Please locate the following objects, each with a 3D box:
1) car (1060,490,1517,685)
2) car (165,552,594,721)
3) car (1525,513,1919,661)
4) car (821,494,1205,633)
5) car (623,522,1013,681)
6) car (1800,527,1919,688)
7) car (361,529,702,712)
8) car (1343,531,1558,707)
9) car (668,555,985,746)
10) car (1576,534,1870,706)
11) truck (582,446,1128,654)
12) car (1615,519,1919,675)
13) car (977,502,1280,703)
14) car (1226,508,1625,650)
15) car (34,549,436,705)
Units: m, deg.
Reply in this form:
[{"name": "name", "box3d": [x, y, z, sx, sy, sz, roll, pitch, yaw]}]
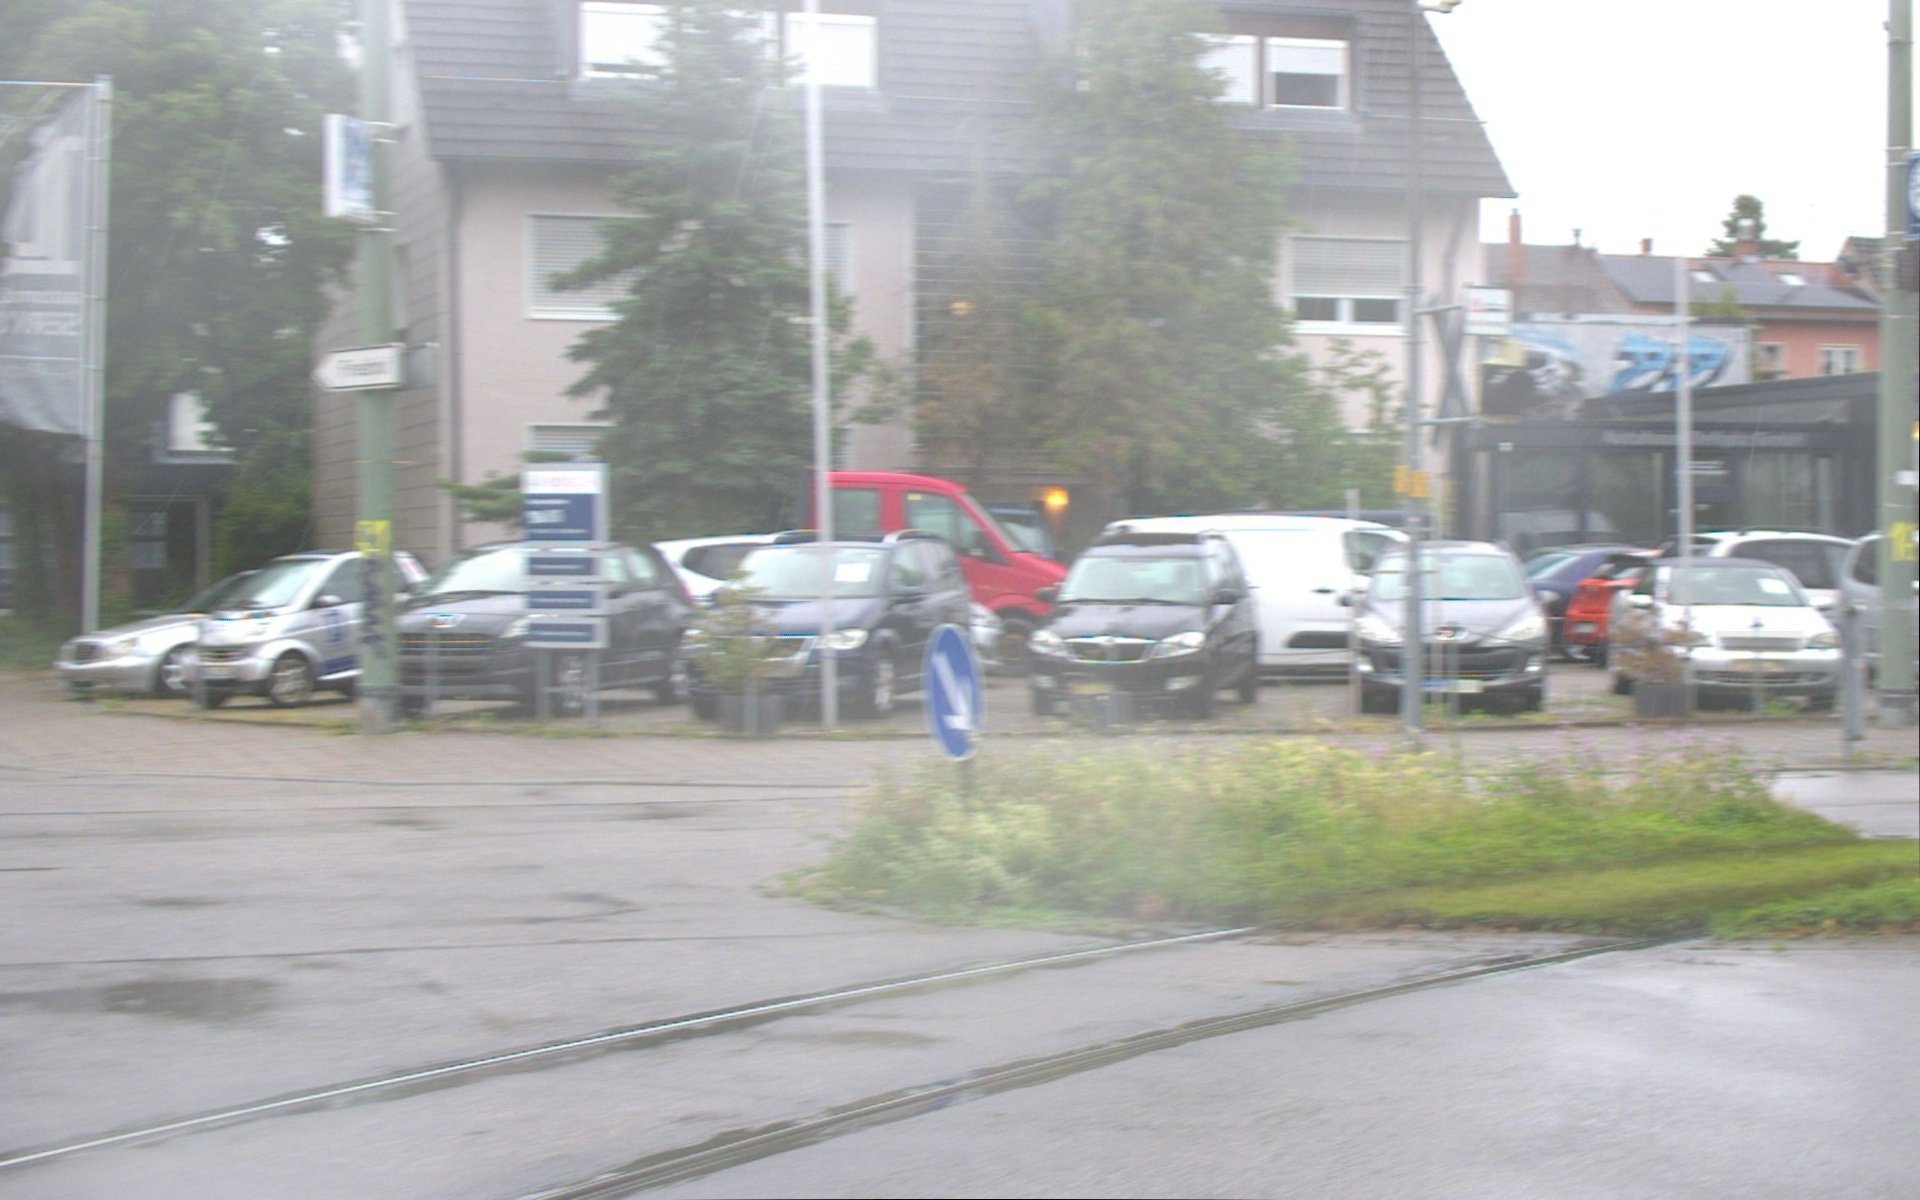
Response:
[{"name": "car", "box3d": [3.491, -0.145, 36.807, 4.431, 2.007, 2.001, 0, 0, -16]}, {"name": "car", "box3d": [-5.835, 0.328, 34.736, 3.860, 1.573, 1.807, -1, 1, -38]}, {"name": "car", "box3d": [9.193, -0.160, 40.893, 4.431, 1.682, 2.001, 0, 0, -16]}, {"name": "car", "box3d": [0.652, -0.456, 43.271, 4.431, 1.682, 2.001, 0, 0, -16]}, {"name": "car", "box3d": [-1.450, 0.018, 36.275, 3.966, 1.592, 2.000, -1, 0, 2]}, {"name": "car", "box3d": [10.158, 0.055, 34.142, 1.801, 1.573, 3.873, -1, 1, -17]}, {"name": "car", "box3d": [-3.849, 0.145, 31.566, 1.803, 1.573, 3.869, 0, 1, 14]}, {"name": "car", "box3d": [4.694, 0.173, 32.485, 1.828, 1.499, 4.056, 2, 0, 10]}, {"name": "car", "box3d": [-1.123, 0.406, 30.911, 1.803, 1.573, 3.869, 0, 1, 14]}, {"name": "car", "box3d": [7.263, 0.175, 33.107, 1.827, 1.499, 4.058, 2, 0, -1]}, {"name": "truck", "box3d": [-1.150, -0.557, 39.388, 6.083, 2.264, 2.000, -1, 0, 2]}, {"name": "car", "box3d": [9.770, -0.050, 38.576, 4.431, 1.682, 1.761, 0, 0, -16]}, {"name": "car", "box3d": [1.615, -0.003, 31.427, 1.995, 1.711, 3.997, 0, 1, 14]}, {"name": "car", "box3d": [5.730, -0.258, 42.445, 4.431, 1.682, 2.001, 0, 0, -16]}, {"name": "car", "box3d": [-7.854, 0.256, 37.399, 3.860, 1.573, 1.807, -1, 1, -38]}]
